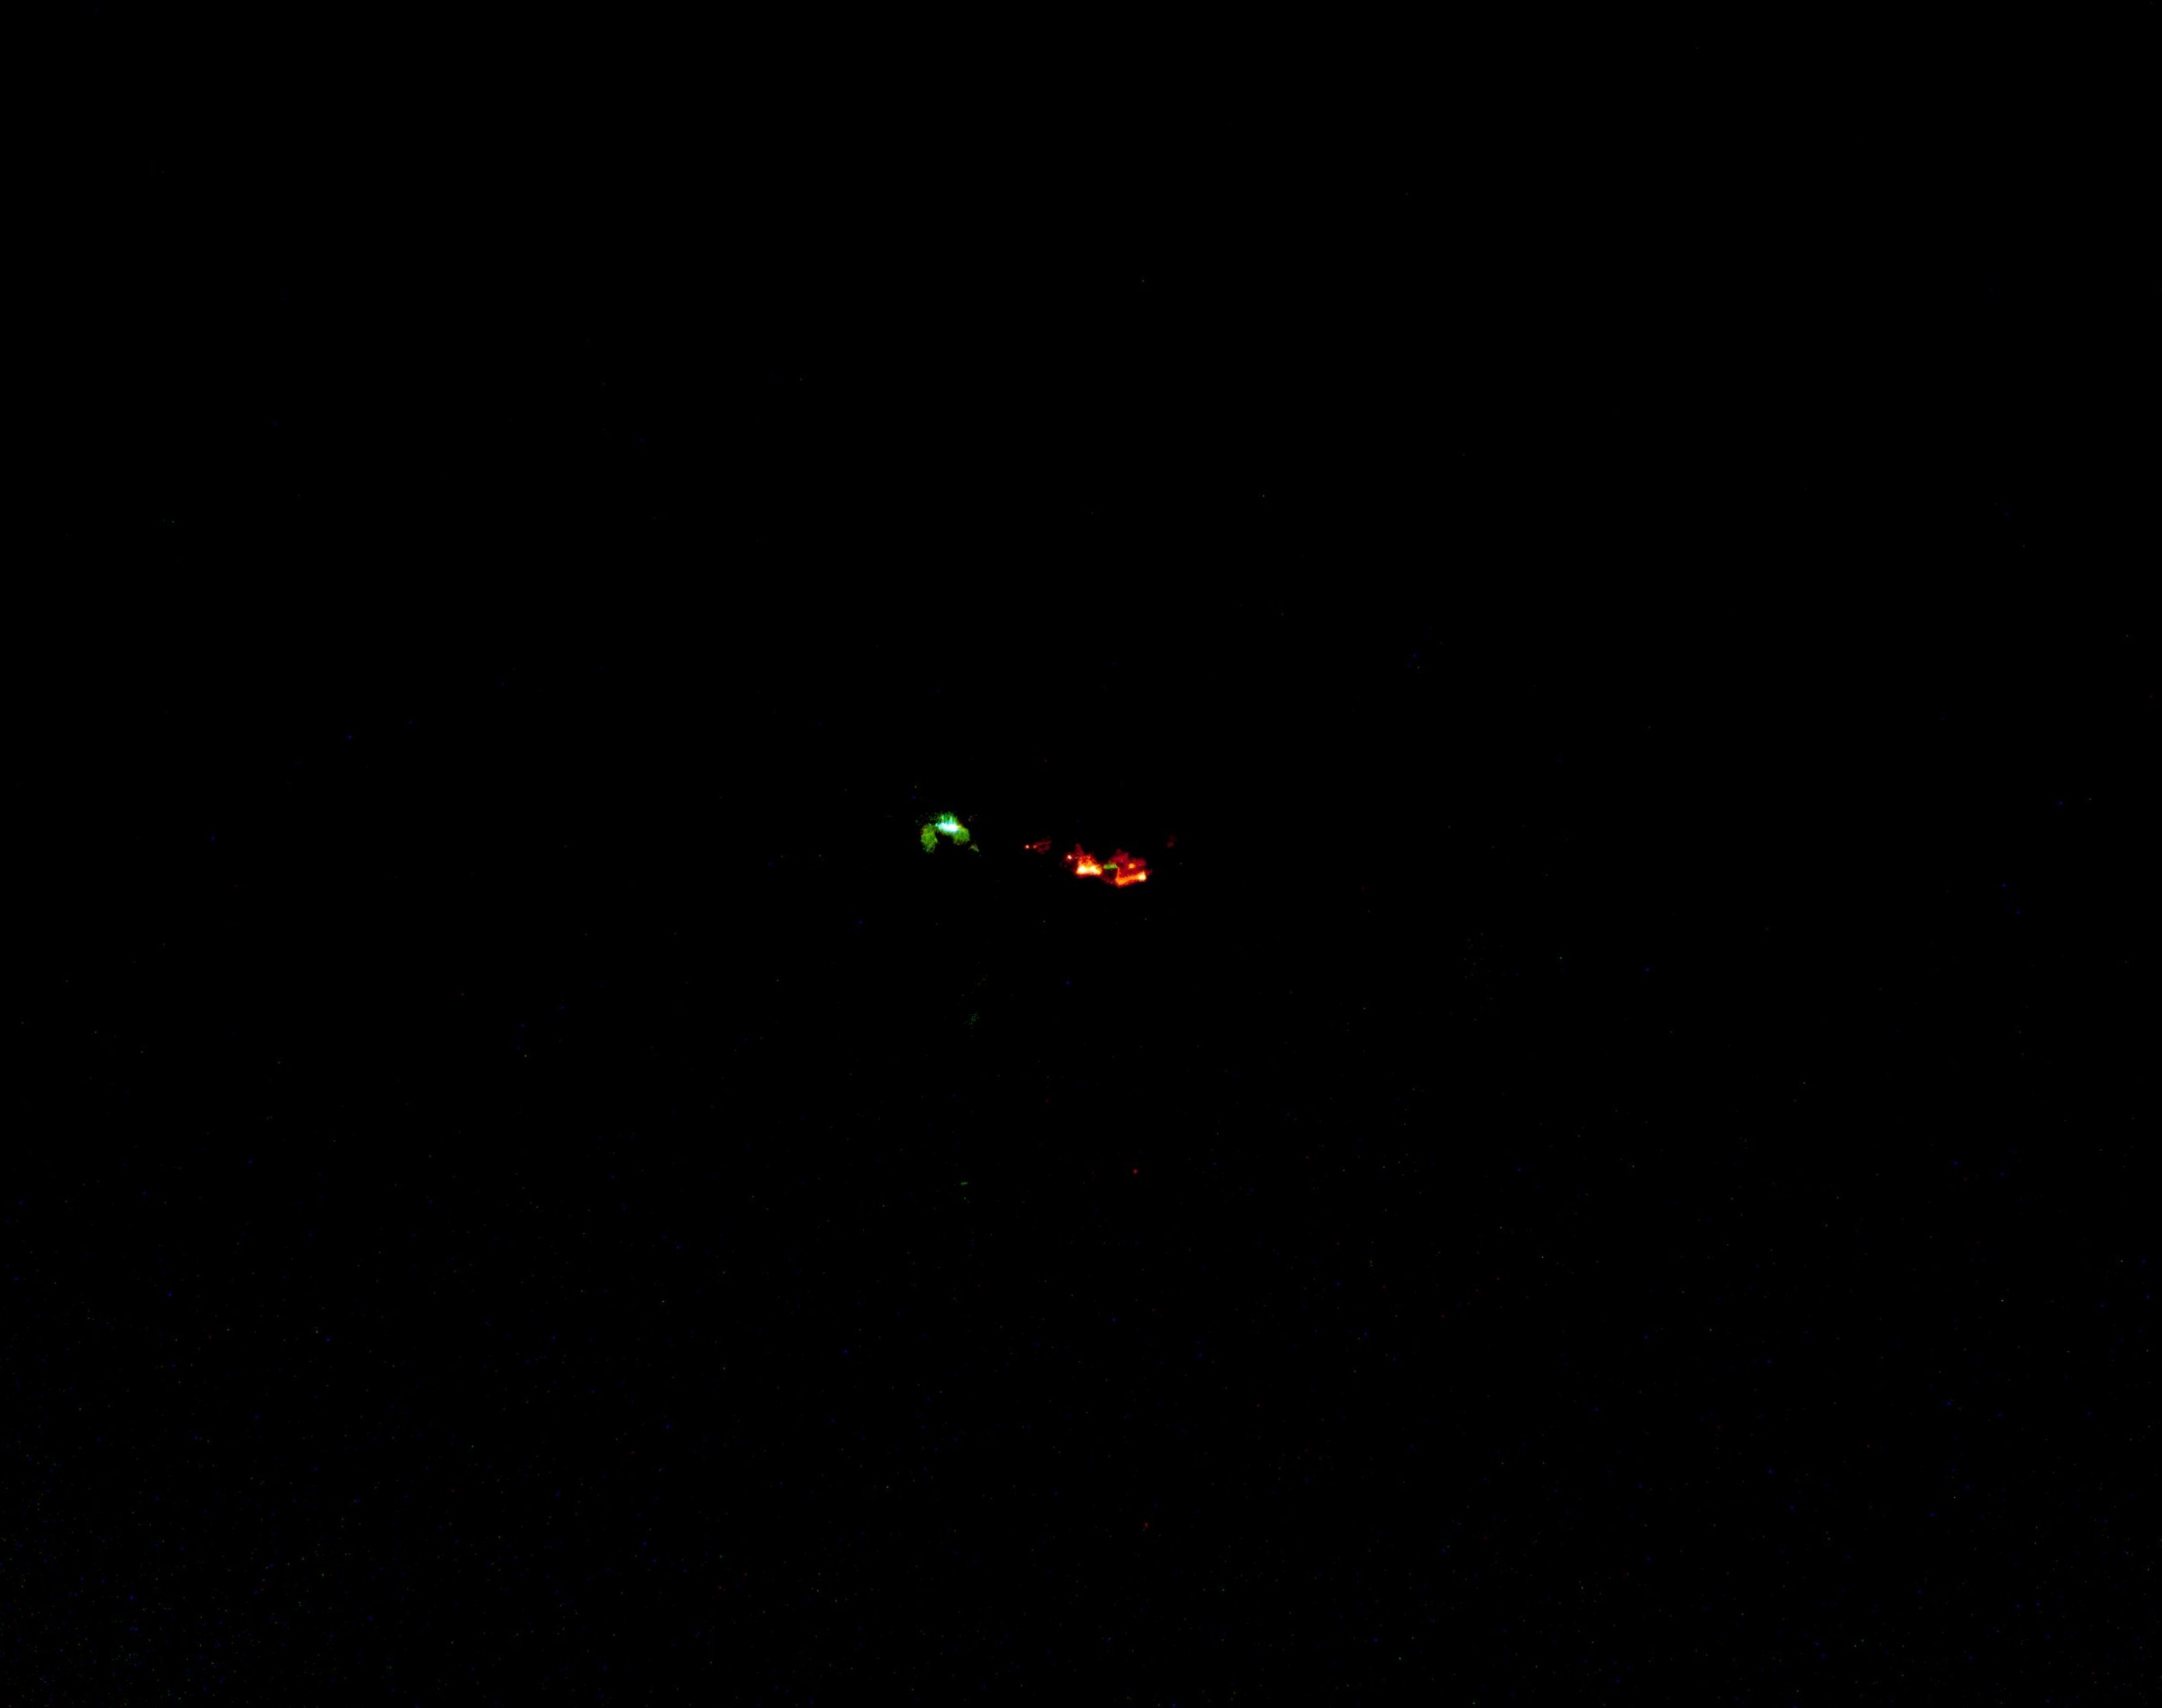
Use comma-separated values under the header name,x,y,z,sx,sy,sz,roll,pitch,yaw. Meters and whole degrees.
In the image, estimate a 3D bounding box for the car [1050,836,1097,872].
name,x,y,z,sx,sy,sz,roll,pitch,yaw
car,-0.499,-0.066,66.408,3.368,2.557,7.341,1,2,2

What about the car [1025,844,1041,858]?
name,x,y,z,sx,sy,sz,roll,pitch,yaw
car,-7.691,-0.501,129.552,1.986,2.013,4.002,-4,0,2

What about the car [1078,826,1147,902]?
name,x,y,z,sx,sy,sz,roll,pitch,yaw
car,1.065,0.270,30.077,2.175,2.557,4.505,1,2,-2
